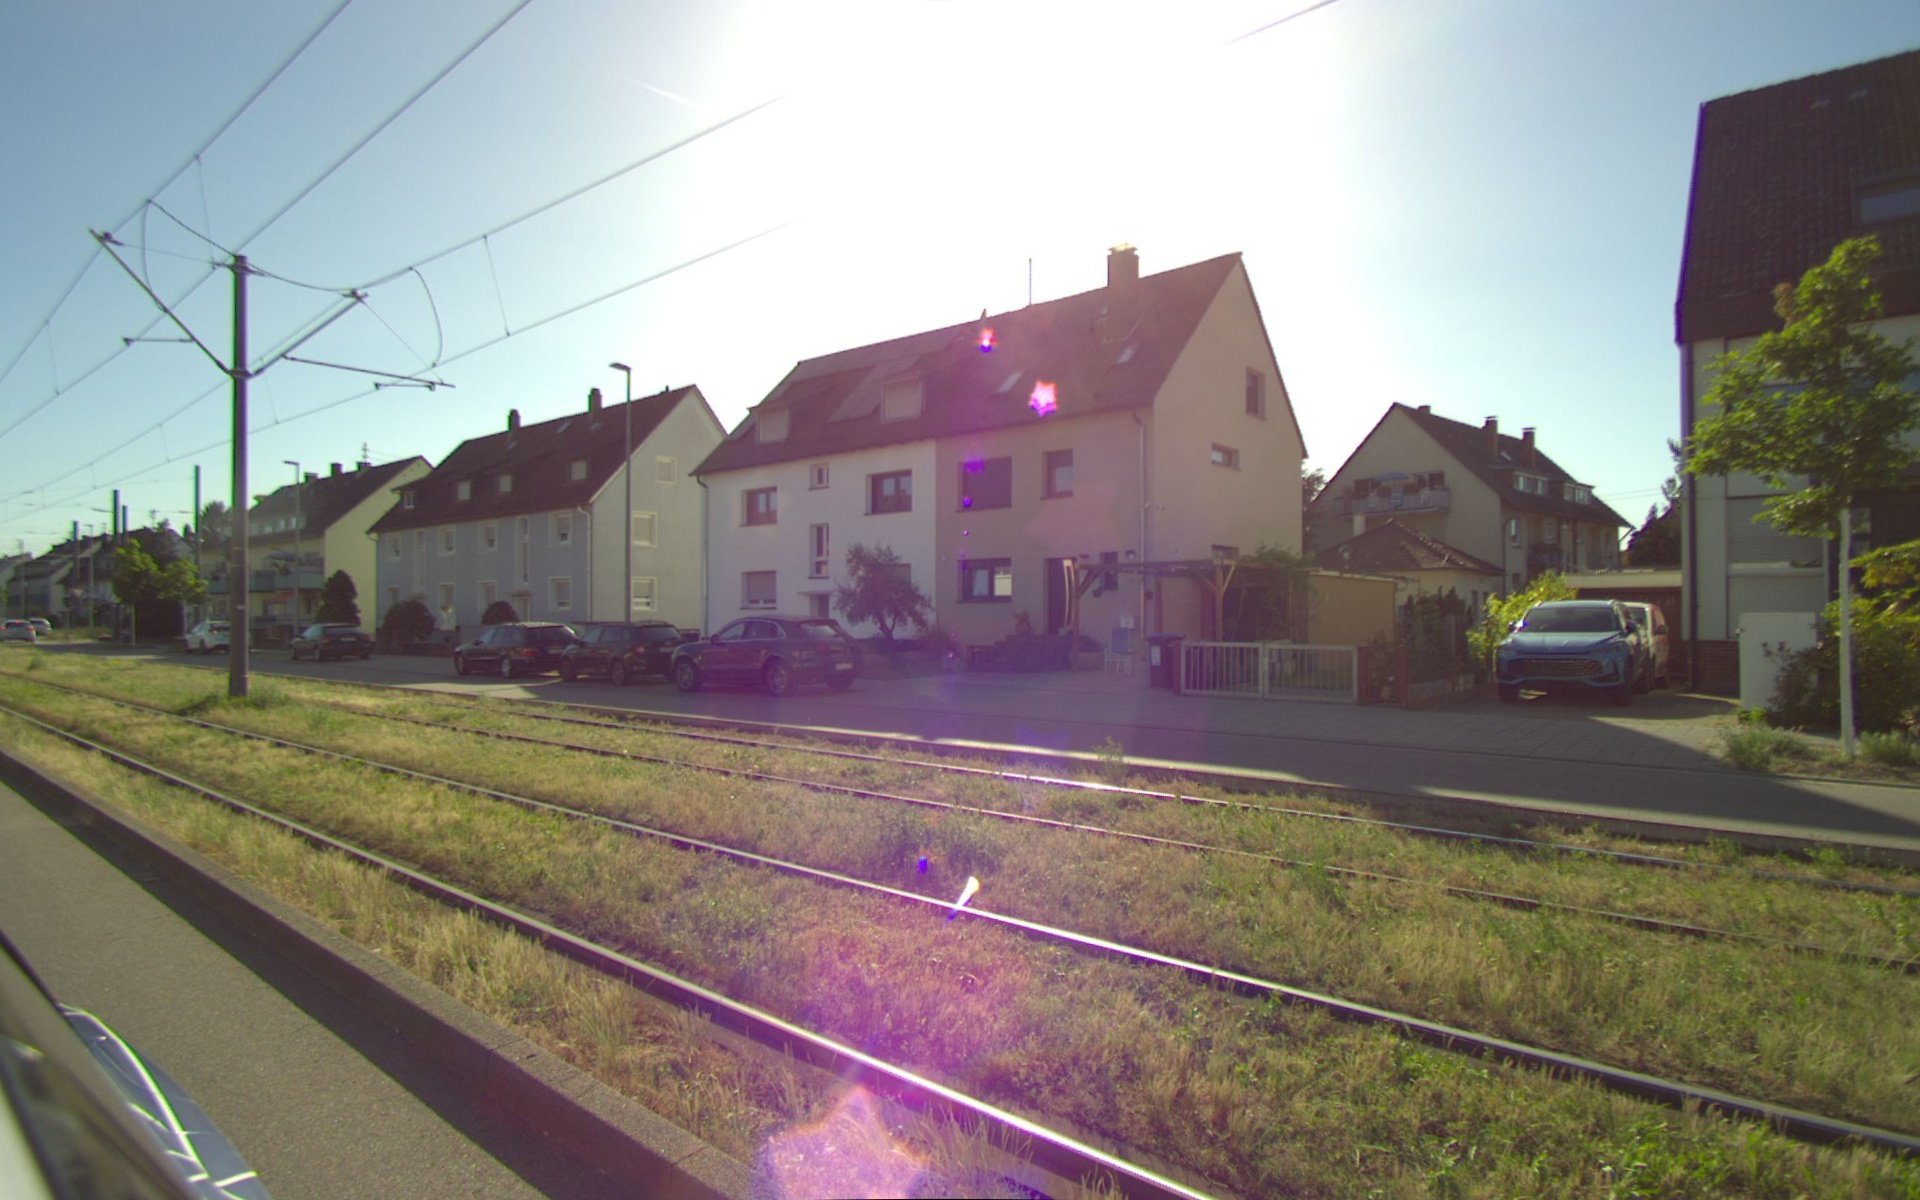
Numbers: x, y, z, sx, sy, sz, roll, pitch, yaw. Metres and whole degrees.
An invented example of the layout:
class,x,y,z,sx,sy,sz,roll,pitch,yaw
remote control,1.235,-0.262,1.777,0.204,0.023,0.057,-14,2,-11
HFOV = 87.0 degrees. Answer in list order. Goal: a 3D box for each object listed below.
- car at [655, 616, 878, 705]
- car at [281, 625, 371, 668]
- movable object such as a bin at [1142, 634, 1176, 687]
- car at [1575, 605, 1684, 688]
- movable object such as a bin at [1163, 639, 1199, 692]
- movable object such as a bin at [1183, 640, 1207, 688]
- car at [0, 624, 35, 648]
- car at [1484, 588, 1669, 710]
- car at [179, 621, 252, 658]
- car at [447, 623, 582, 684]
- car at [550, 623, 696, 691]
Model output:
class,x,y,z,sx,sy,sz,roll,pitch,yaw
car,-4.080,1.141,20.886,4.855,1.572,1.901,-1,0,41
car,-23.331,1.660,37.196,4.090,1.408,1.683,-1,0,41
movable object such as a bin,3.860,1.173,19.659,0.607,1.021,0.196,-3,-1,44
car,14.318,0.918,21.565,1.508,1.605,3.796,-1,-1,40
movable object such as a bin,4.067,1.201,18.622,0.607,0.954,0.196,-3,-1,44
movable object such as a bin,4.528,1.222,19.512,0.195,0.893,0.608,-2,-1,-8
car,-62.663,2.374,66.980,4.090,1.474,1.683,-1,0,41
car,10.570,0.754,17.204,1.969,1.797,4.346,-2,-2,41
car,-33.480,1.730,45.480,4.090,1.542,1.808,-1,0,41
car,-12.220,1.404,27.630,4.398,1.466,1.636,-1,0,41
car,-8.108,1.323,24.188,3.995,1.479,1.450,-2,-2,40
